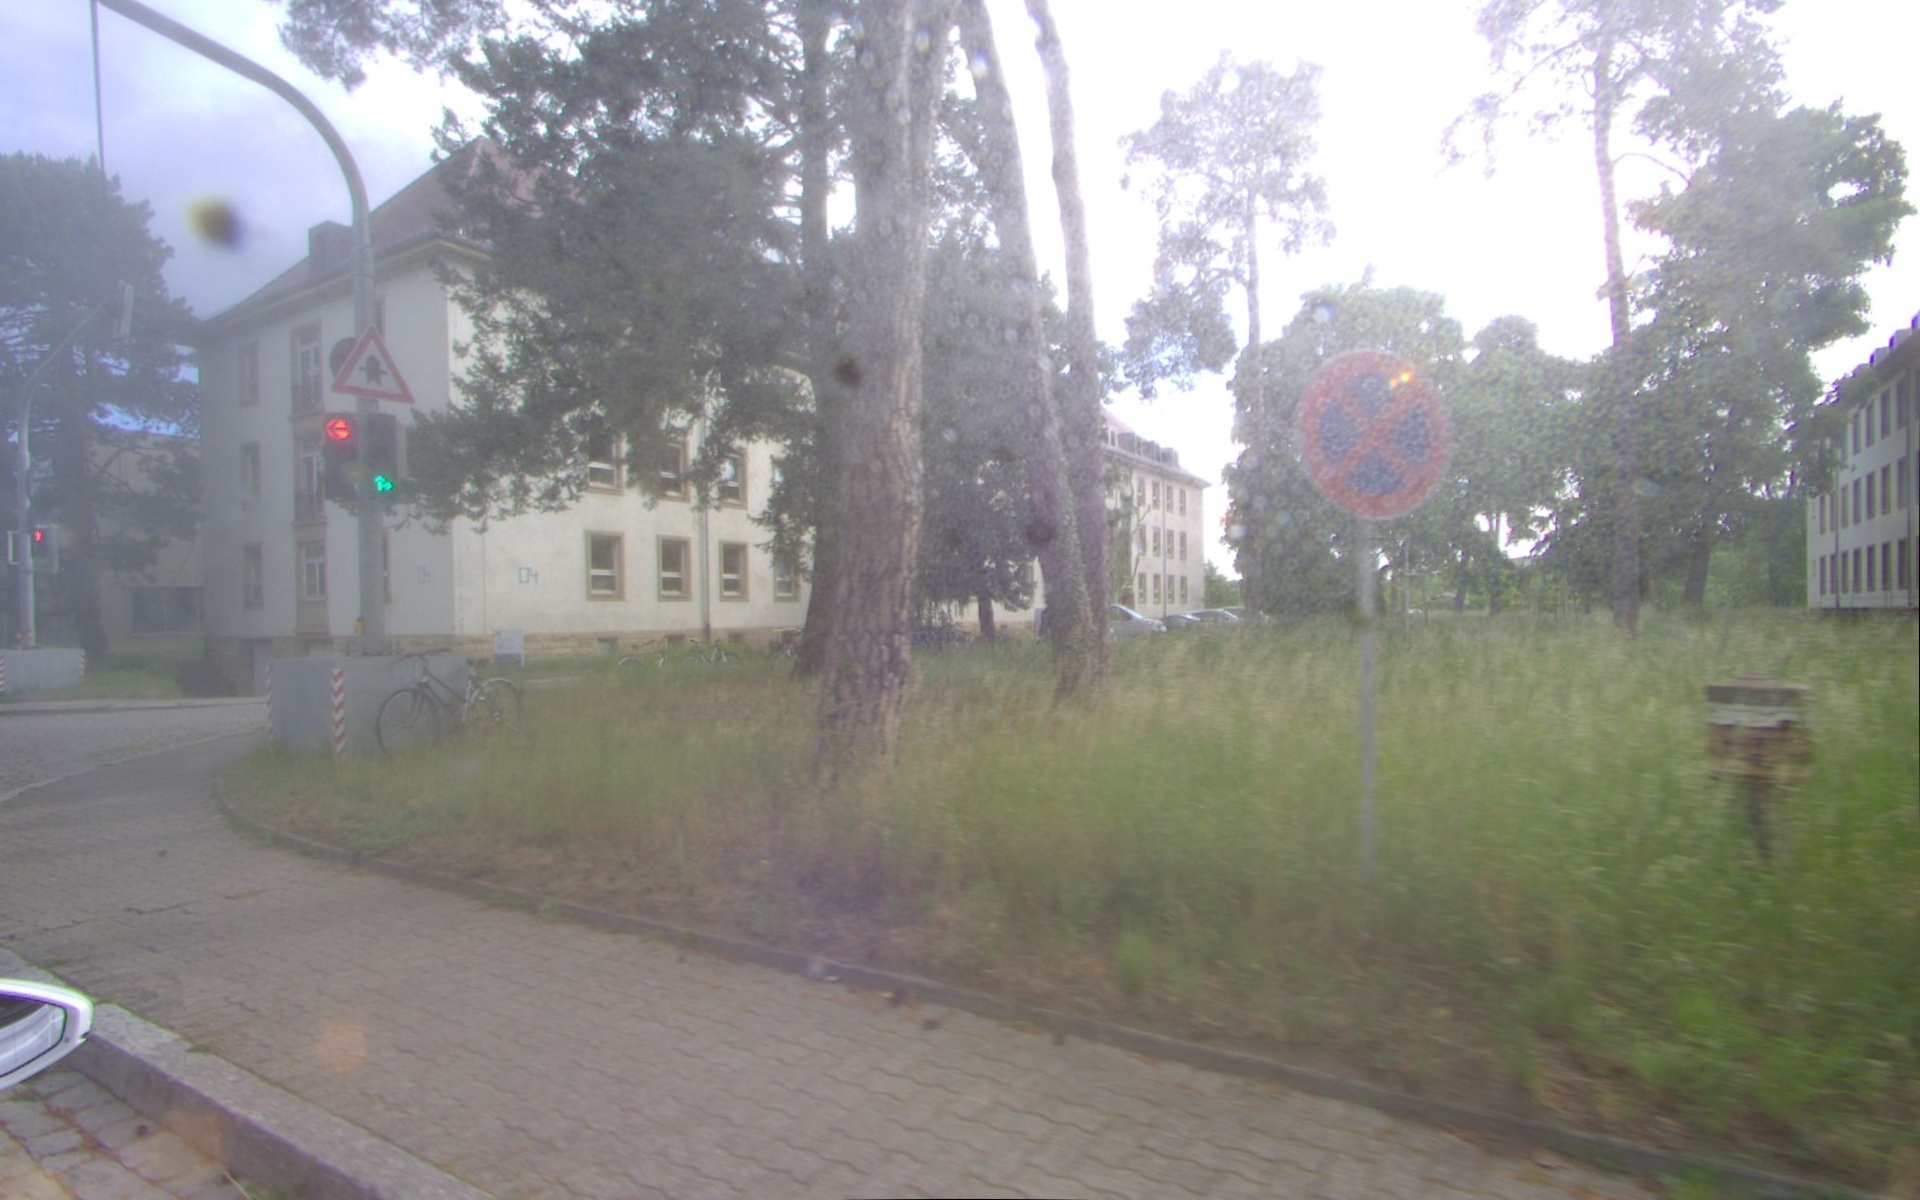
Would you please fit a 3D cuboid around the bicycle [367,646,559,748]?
[{"bbox_3d":[-4.967,0.936,10.115,0.565,0.885,1.696,-1,-1,32],"label":"bicycle"}]

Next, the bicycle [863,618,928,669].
[{"bbox_3d":[-1.739,1.149,26.764,1.829,1.337,0.553,-1,0,38],"label":"bicycle"}]

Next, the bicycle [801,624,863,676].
[{"bbox_3d":[-3.144,1.220,24.530,1.618,1.231,0.539,-1,0,38],"label":"bicycle"}]

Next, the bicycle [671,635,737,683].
[{"bbox_3d":[-5.857,1.327,22.980,0.535,1.027,1.533,-1,-1,31],"label":"bicycle"}]

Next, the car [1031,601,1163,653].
[{"bbox_3d":[5.362,1.057,39.004,4.775,1.935,2.237,-1,0,17],"label":"car"}]

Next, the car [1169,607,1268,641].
[{"bbox_3d":[13.012,1.200,50.542,4.454,1.639,1.989,-1,-1,33],"label":"car"}]

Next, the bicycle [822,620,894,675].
[{"bbox_3d":[-2.603,1.188,25.456,1.951,1.337,0.574,-1,0,38],"label":"bicycle"}]

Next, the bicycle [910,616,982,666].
[{"bbox_3d":[-0.416,1.166,28.824,2.076,1.385,0.754,-1,0,38],"label":"bicycle"}]

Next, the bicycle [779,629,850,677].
[{"bbox_3d":[-3.511,1.251,24.080,1.878,1.116,0.539,-1,-1,38],"label":"bicycle"}]

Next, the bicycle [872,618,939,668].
[{"bbox_3d":[-1.500,1.164,27.334,1.914,1.337,0.551,-1,0,38],"label":"bicycle"}]

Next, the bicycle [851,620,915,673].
[{"bbox_3d":[-2.045,1.214,26.332,1.894,1.337,0.390,-1,0,38],"label":"bicycle"}]

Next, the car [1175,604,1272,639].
[{"bbox_3d":[14.106,1.172,53.630,4.630,1.796,1.989,-1,-1,33],"label":"car"}]

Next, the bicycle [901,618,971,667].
[{"bbox_3d":[-0.693,1.191,28.159,2.105,1.337,0.552,-1,0,38],"label":"bicycle"}]

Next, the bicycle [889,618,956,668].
[{"bbox_3d":[-1.050,1.178,27.715,1.990,1.337,0.538,-1,0,38],"label":"bicycle"}]

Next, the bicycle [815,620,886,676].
[{"bbox_3d":[-2.744,1.169,24.872,2.022,1.337,0.436,-1,0,38],"label":"bicycle"}]

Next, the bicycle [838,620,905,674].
[{"bbox_3d":[-2.308,1.204,25.966,1.896,1.337,0.504,-1,0,38],"label":"bicycle"}]

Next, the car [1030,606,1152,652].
[{"bbox_3d":[4.620,1.025,35.477,3.878,1.550,1.852,-1,-1,35],"label":"car"}]

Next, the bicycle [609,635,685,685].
[{"bbox_3d":[-6.673,1.271,21.421,0.522,0.993,1.618,-1,-1,31],"label":"bicycle"}]

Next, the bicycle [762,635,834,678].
[{"bbox_3d":[-3.815,1.304,23.500,1.878,0.961,0.539,-1,-1,38],"label":"bicycle"}]
